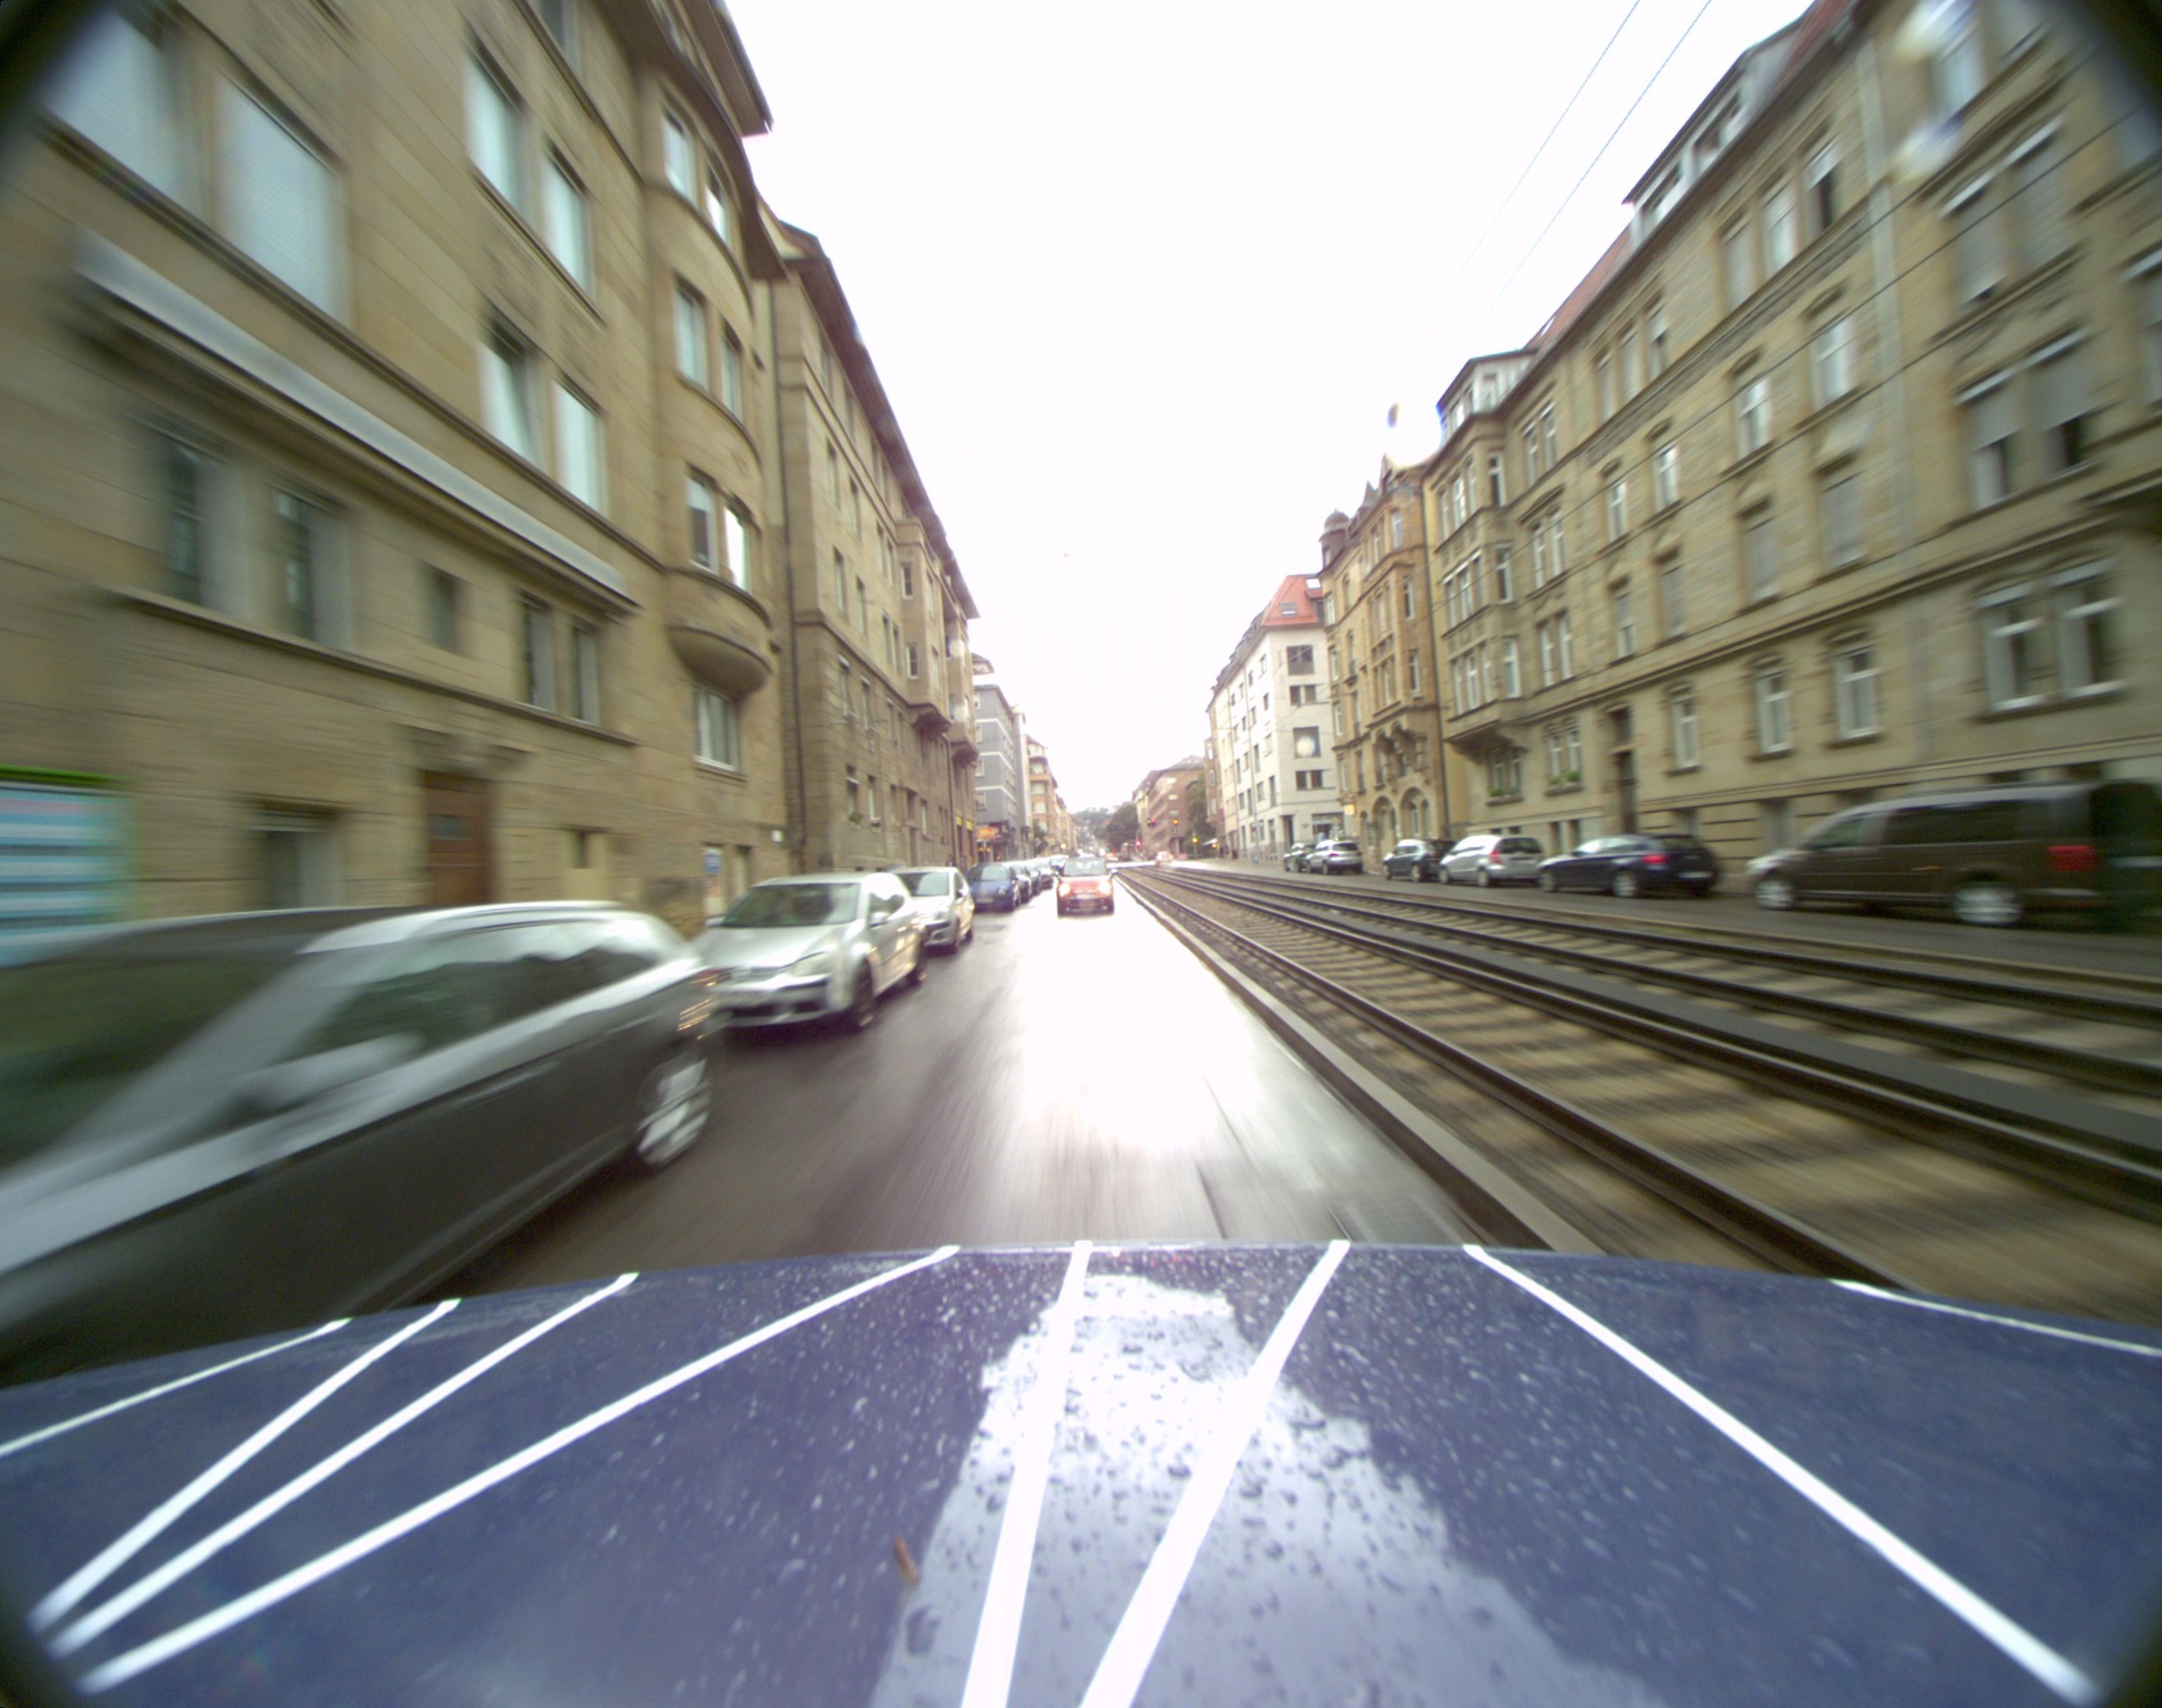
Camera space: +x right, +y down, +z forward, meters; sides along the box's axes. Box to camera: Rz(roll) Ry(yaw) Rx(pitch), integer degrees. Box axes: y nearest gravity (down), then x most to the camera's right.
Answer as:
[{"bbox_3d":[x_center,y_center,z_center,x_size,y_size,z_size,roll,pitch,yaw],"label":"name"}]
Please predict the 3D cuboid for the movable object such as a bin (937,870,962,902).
[{"bbox_3d":[-4.882,1.173,28.353,0.667,1.096,1.124,-3,0,1],"label":"movable object such as a bin"}]

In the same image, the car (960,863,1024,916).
[{"bbox_3d":[-2.655,1.028,23.318,1.548,1.406,3.446,-3,0,0],"label":"car"}]

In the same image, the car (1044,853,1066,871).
[{"bbox_3d":[-2.256,0.681,65.398,1.696,1.474,3.928,-1,0,-4],"label":"car"}]

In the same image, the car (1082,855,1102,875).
[{"bbox_3d":[1.215,1.207,84.760,2.135,2.002,4.328,-3,0,1],"label":"car"}]

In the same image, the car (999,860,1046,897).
[{"bbox_3d":[-2.468,0.996,32.944,1.711,1.390,4.018,-3,0,0],"label":"car"}]

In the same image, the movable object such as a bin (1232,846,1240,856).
[{"bbox_3d":[16.825,-0.314,82.573,0.631,1.074,0.563,-7,0,0],"label":"movable object such as a bin"}]

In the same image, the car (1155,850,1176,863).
[{"bbox_3d":[10.391,0.322,93.798,1.986,1.448,4.294,-2,0,0],"label":"car"}]

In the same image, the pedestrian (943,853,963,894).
[{"bbox_3d":[-4.920,0.755,29.284,0.562,1.526,0.710,-3,1,1],"label":"pedestrian"}]

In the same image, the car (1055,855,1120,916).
[{"bbox_3d":[0.193,0.842,22.039,1.683,1.531,4.018,-2,0,1],"label":"car"}]

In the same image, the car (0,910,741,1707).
[{"bbox_3d":[-2.920,1.078,2.473,1.674,1.402,4.311,-2,0,-1],"label":"car"}]

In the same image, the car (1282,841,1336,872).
[{"bbox_3d":[12.932,0.125,43.302,1.863,1.592,4.430,-2,0,3],"label":"car"}]

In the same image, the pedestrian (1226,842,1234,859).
[{"bbox_3d":[16.267,-0.391,82.864,0.603,1.708,0.658,-6,0,4],"label":"pedestrian"}]

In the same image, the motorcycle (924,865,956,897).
[{"bbox_3d":[-5.781,1.078,31.388,0.707,1.192,2.746,-3,0,1],"label":"motorcycle"}]

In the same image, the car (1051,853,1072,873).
[{"bbox_3d":[-1.771,0.806,70.858,1.797,1.750,4.566,-3,0,0],"label":"car"}]

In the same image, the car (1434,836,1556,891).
[{"bbox_3d":[12.604,0.255,23.395,1.699,1.515,3.855,-2,0,1],"label":"car"}]

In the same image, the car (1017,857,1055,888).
[{"bbox_3d":[-2.230,0.884,38.233,1.759,1.379,4.484,-1,0,-2],"label":"car"}]

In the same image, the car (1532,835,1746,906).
[{"bbox_3d":[12.586,0.338,17.548,1.767,1.390,4.269,-2,0,0],"label":"car"}]

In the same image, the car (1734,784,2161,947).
[{"bbox_3d":[12.438,0.115,11.035,1.805,1.836,4.818,-2,0,1],"label":"car"}]

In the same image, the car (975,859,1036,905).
[{"bbox_3d":[-2.703,0.952,27.926,1.792,1.454,4.083,-3,0,0],"label":"car"}]

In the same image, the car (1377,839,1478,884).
[{"bbox_3d":[12.747,0.247,28.240,1.875,1.499,4.169,-2,0,1],"label":"car"}]

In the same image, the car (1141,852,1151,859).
[{"bbox_3d":[14.078,0.259,164.842,2.093,1.449,4.860,-2,0,3],"label":"car"}]

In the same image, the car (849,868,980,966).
[{"bbox_3d":[-2.869,1.025,13.844,1.594,1.426,3.683,-2,0,-1],"label":"car"}]

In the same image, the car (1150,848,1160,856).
[{"bbox_3d":[13.873,-0.323,142.174,1.708,1.379,3.781,-2,0,3],"label":"car"}]

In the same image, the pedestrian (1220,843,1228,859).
[{"bbox_3d":[15.601,-0.318,82.871,0.603,1.708,0.746,-6,0,4],"label":"pedestrian"}]

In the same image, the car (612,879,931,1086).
[{"bbox_3d":[-2.807,1.073,7.923,1.672,1.426,3.956,-2,0,0],"label":"car"}]

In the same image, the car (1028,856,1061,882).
[{"bbox_3d":[-2.155,0.866,45.422,1.675,1.435,3.790,-1,0,1],"label":"car"}]

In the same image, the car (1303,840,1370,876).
[{"bbox_3d":[12.900,0.173,38.629,1.863,1.643,4.315,-3,0,0],"label":"car"}]
